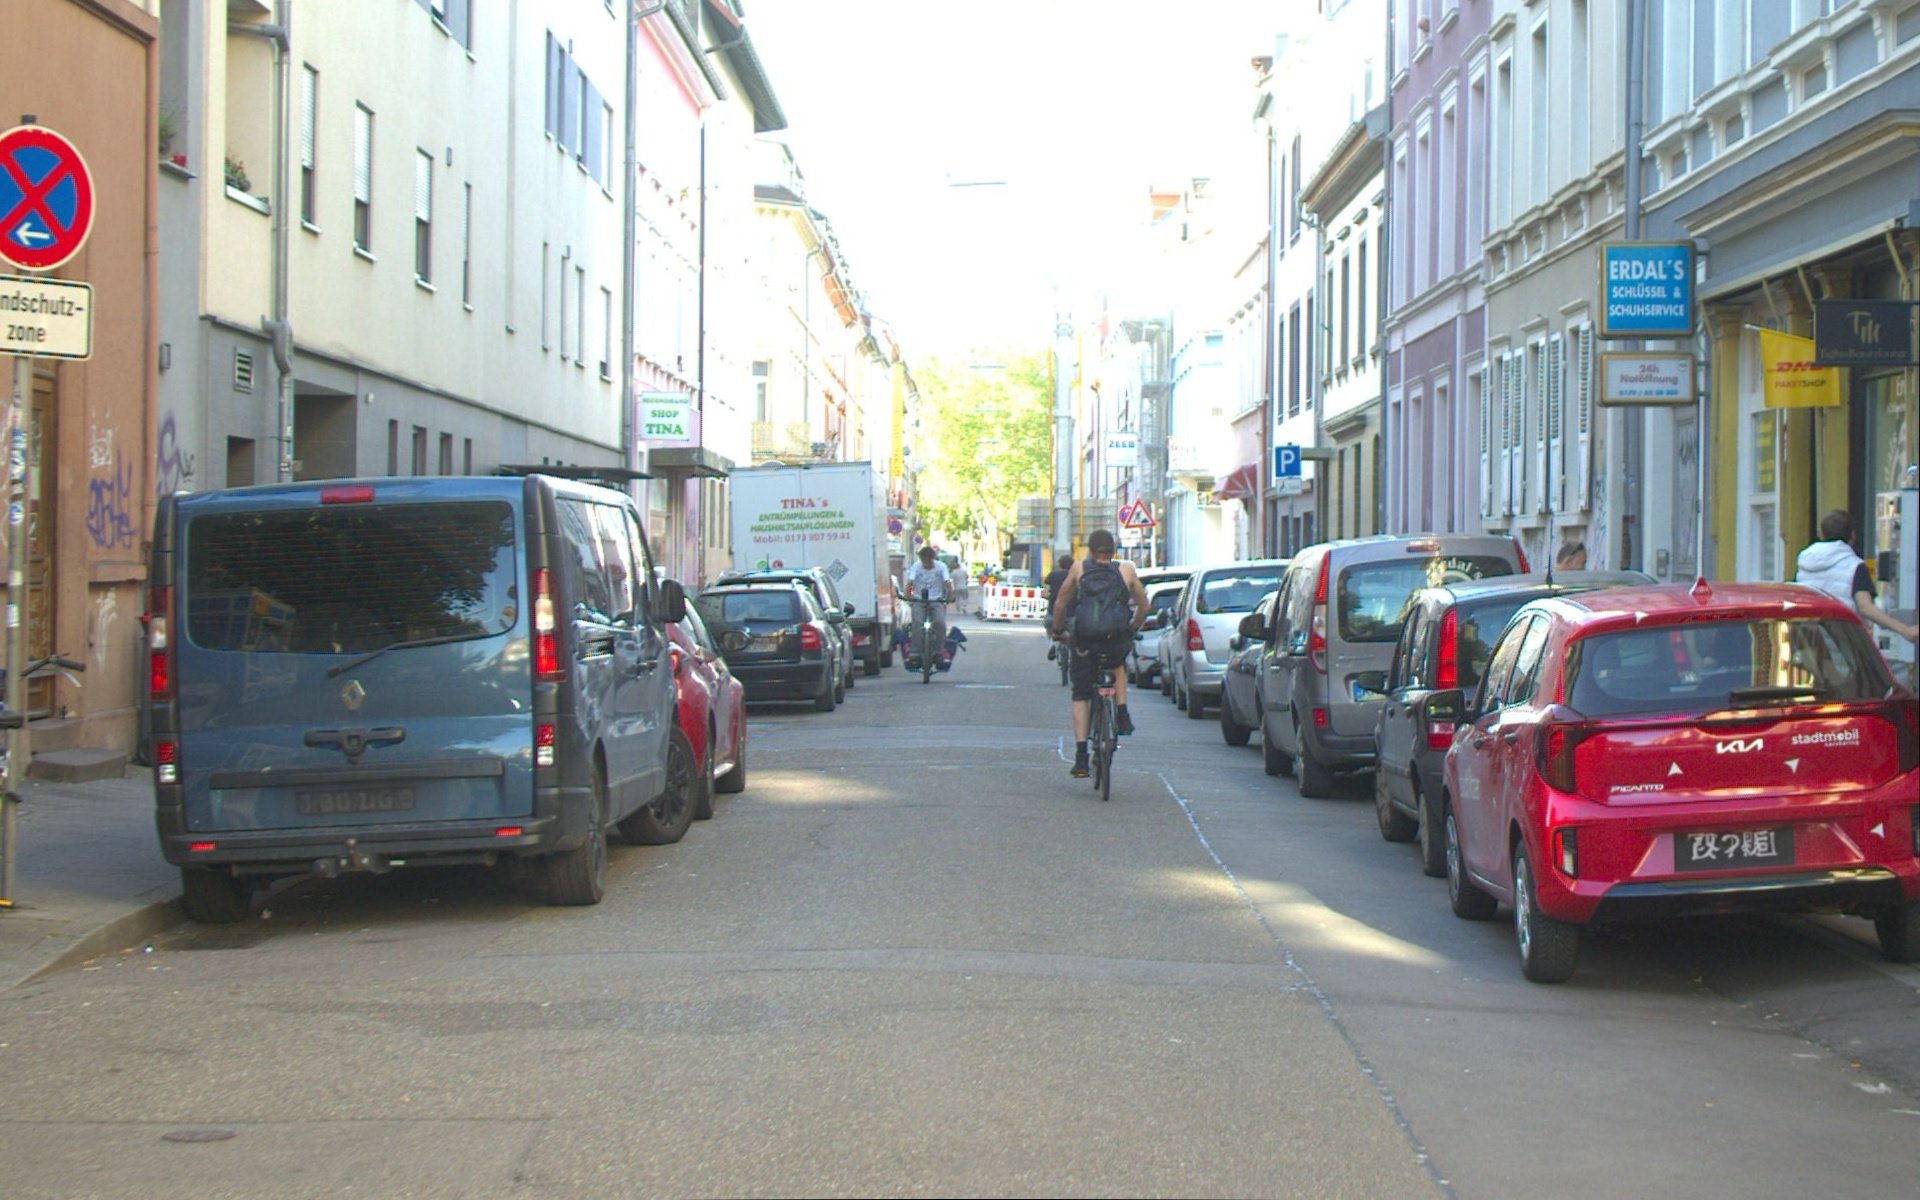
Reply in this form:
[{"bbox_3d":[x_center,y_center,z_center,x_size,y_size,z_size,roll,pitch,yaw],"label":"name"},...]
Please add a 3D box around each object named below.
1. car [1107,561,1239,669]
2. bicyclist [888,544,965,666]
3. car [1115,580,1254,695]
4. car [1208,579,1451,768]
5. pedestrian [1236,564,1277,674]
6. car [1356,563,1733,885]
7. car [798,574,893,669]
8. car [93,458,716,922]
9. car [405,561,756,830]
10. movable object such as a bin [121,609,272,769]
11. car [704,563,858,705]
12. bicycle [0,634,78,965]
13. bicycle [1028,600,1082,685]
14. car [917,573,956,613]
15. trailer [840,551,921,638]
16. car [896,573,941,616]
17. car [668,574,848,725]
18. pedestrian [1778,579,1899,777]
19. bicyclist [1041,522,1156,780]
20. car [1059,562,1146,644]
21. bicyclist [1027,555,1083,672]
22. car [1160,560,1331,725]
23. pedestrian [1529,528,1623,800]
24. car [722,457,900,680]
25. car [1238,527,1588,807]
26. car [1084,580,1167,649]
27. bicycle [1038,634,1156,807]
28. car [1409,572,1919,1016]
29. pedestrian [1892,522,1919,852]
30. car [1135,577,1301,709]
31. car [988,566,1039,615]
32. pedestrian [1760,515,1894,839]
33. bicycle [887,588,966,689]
[{"bbox_3d":[3.506,0.221,57.226,1.918,1.700,4.366,1,1,0],"label":"car"},{"bbox_3d":[-0.449,0.059,46.603,0.950,1.622,0.953,-1,0,3],"label":"bicyclist"},{"bbox_3d":[3.155,0.511,49.017,1.686,1.538,4.046,-1,0,0],"label":"car"},{"bbox_3d":[3.173,0.608,30.103,1.552,1.506,3.612,2,0,-2],"label":"car"},{"bbox_3d":[5.499,0.355,63.822,0.644,2.007,0.764,2,0,0],"label":"pedestrian"},{"bbox_3d":[3.105,0.625,18.812,1.570,1.551,3.314,-2,0,2],"label":"car"},{"bbox_3d":[-2.269,0.415,68.804,1.752,1.810,4.078,-1,0,0],"label":"car"},{"bbox_3d":[-2.517,0.343,17.040,2.020,1.873,5.296,2,1,2],"label":"car"},{"bbox_3d":[-2.351,0.570,22.183,1.750,1.517,3.869,-2,0,1],"label":"car"},{"bbox_3d":[-5.295,0.611,23.848,0.760,1.063,0.651,2,0,20],"label":"movable object such as a bin"},{"bbox_3d":[-2.253,0.393,44.260,1.716,1.645,4.246,-2,1,0],"label":"car"},{"bbox_3d":[-3.919,0.760,13.915,0.550,1.212,1.989,2,0,-17],"label":"bicycle"},{"bbox_3d":[1.291,0.571,47.137,0.648,1.126,2.136,2,0,0],"label":"bicycle"},{"bbox_3d":[-1.051,-0.311,155.038,1.750,1.815,3.796,0,0,0],"label":"car"},{"bbox_3d":[-1.919,-0.136,84.093,1.882,2.085,3.737,0,0,0],"label":"trailer"},{"bbox_3d":[-1.662,-0.224,137.678,1.750,1.678,3.796,0,0,0],"label":"car"},{"bbox_3d":[-2.196,0.502,38.391,1.716,1.473,4.499,-2,1,0],"label":"car"},{"bbox_3d":[5.545,0.486,21.700,0.531,1.218,0.513,2,0,40],"label":"pedestrian"},{"bbox_3d":[0.920,0.336,23.083,0.667,1.671,1.097,2,0,0],"label":"bicyclist"},{"bbox_3d":[3.332,0.069,80.863,1.750,1.872,3.973,0,0,-2],"label":"car"},{"bbox_3d":[1.301,0.182,47.168,0.671,1.562,0.716,2,0,-1],"label":"bicyclist"},{"bbox_3d":[3.135,0.455,38.277,1.556,1.706,3.558,2,0,0],"label":"car"},{"bbox_3d":[3.933,0.405,21.970,0.441,1.698,0.654,2,0,1],"label":"pedestrian"},{"bbox_3d":[-2.276,-0.467,54.707,2.343,3.280,7.154,-1,0,1],"label":"car"},{"bbox_3d":[3.160,0.444,24.823,1.899,1.787,4.315,2,0,0],"label":"car"},{"bbox_3d":[3.624,0.312,75.795,1.750,1.482,3.799,0,0,2],"label":"car"},{"bbox_3d":[0.904,0.785,23.040,0.677,1.071,1.942,2,0,0],"label":"bicycle"},{"bbox_3d":[2.920,0.712,14.264,1.606,1.567,3.553,2,0,0],"label":"car"},{"bbox_3d":[5.378,0.464,18.098,0.628,1.734,0.659,2,0,-12],"label":"pedestrian"},{"bbox_3d":[3.179,0.516,43.138,1.697,1.538,4.629,-1,0,0],"label":"car"},{"bbox_3d":[1.762,-0.295,114.550,1.611,1.555,3.610,2,0,0],"label":"car"},{"bbox_3d":[4.736,0.417,18.801,0.561,1.734,0.428,2,0,-2],"label":"pedestrian"},{"bbox_3d":[-0.436,0.505,46.876,0.977,1.310,2.555,0,1,2],"label":"bicycle"}]
